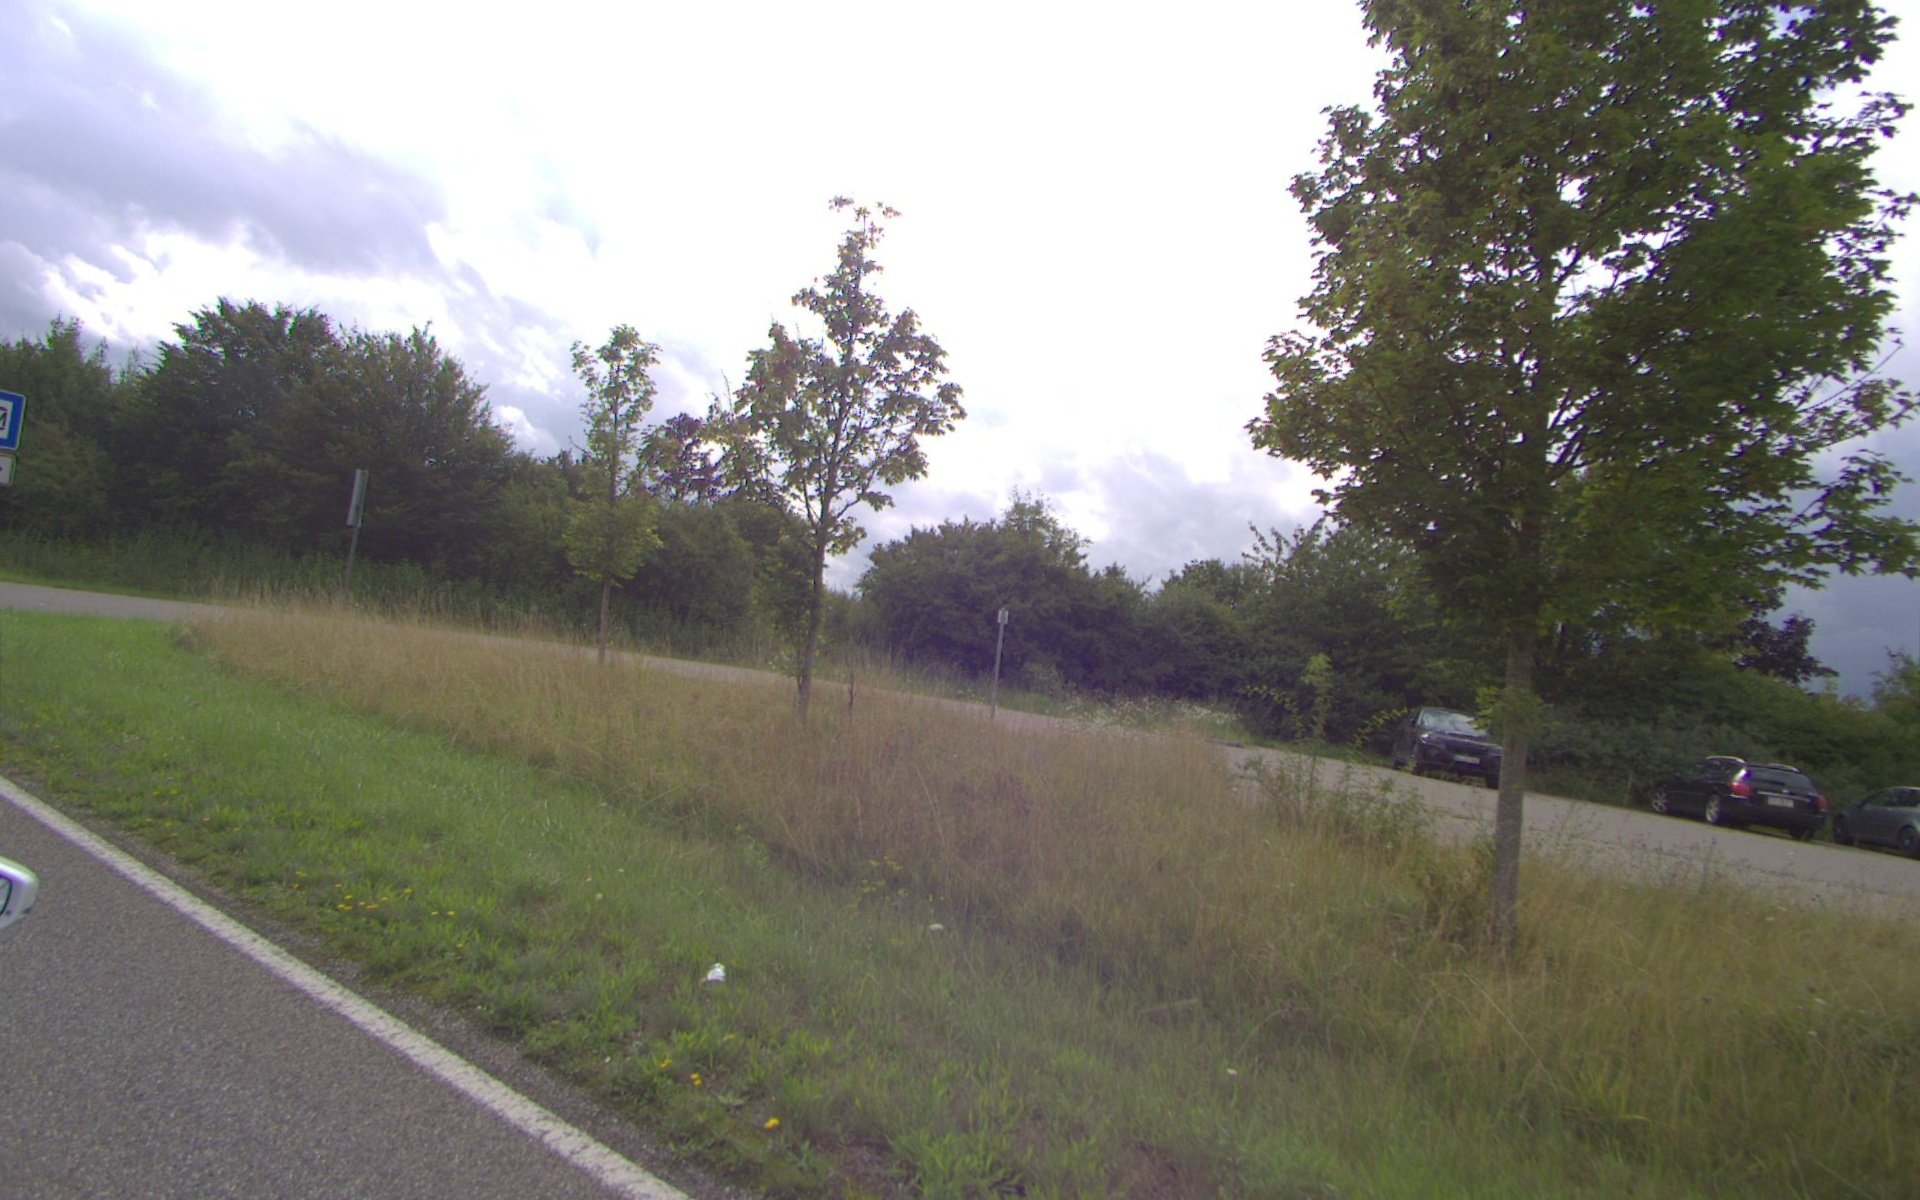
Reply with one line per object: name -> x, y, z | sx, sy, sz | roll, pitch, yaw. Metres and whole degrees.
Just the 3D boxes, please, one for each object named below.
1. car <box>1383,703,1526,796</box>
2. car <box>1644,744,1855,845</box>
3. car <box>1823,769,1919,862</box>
car -> 11.522, 3.416, 23.787 | 1.962, 1.599, 4.499 | 7, -3, 14
car -> 17.062, 4.156, 22.041 | 1.962, 1.430, 4.172 | 7, -3, 14
car -> 20.356, 4.620, 21.104 | 2.014, 1.522, 4.014 | 7, -3, 21
